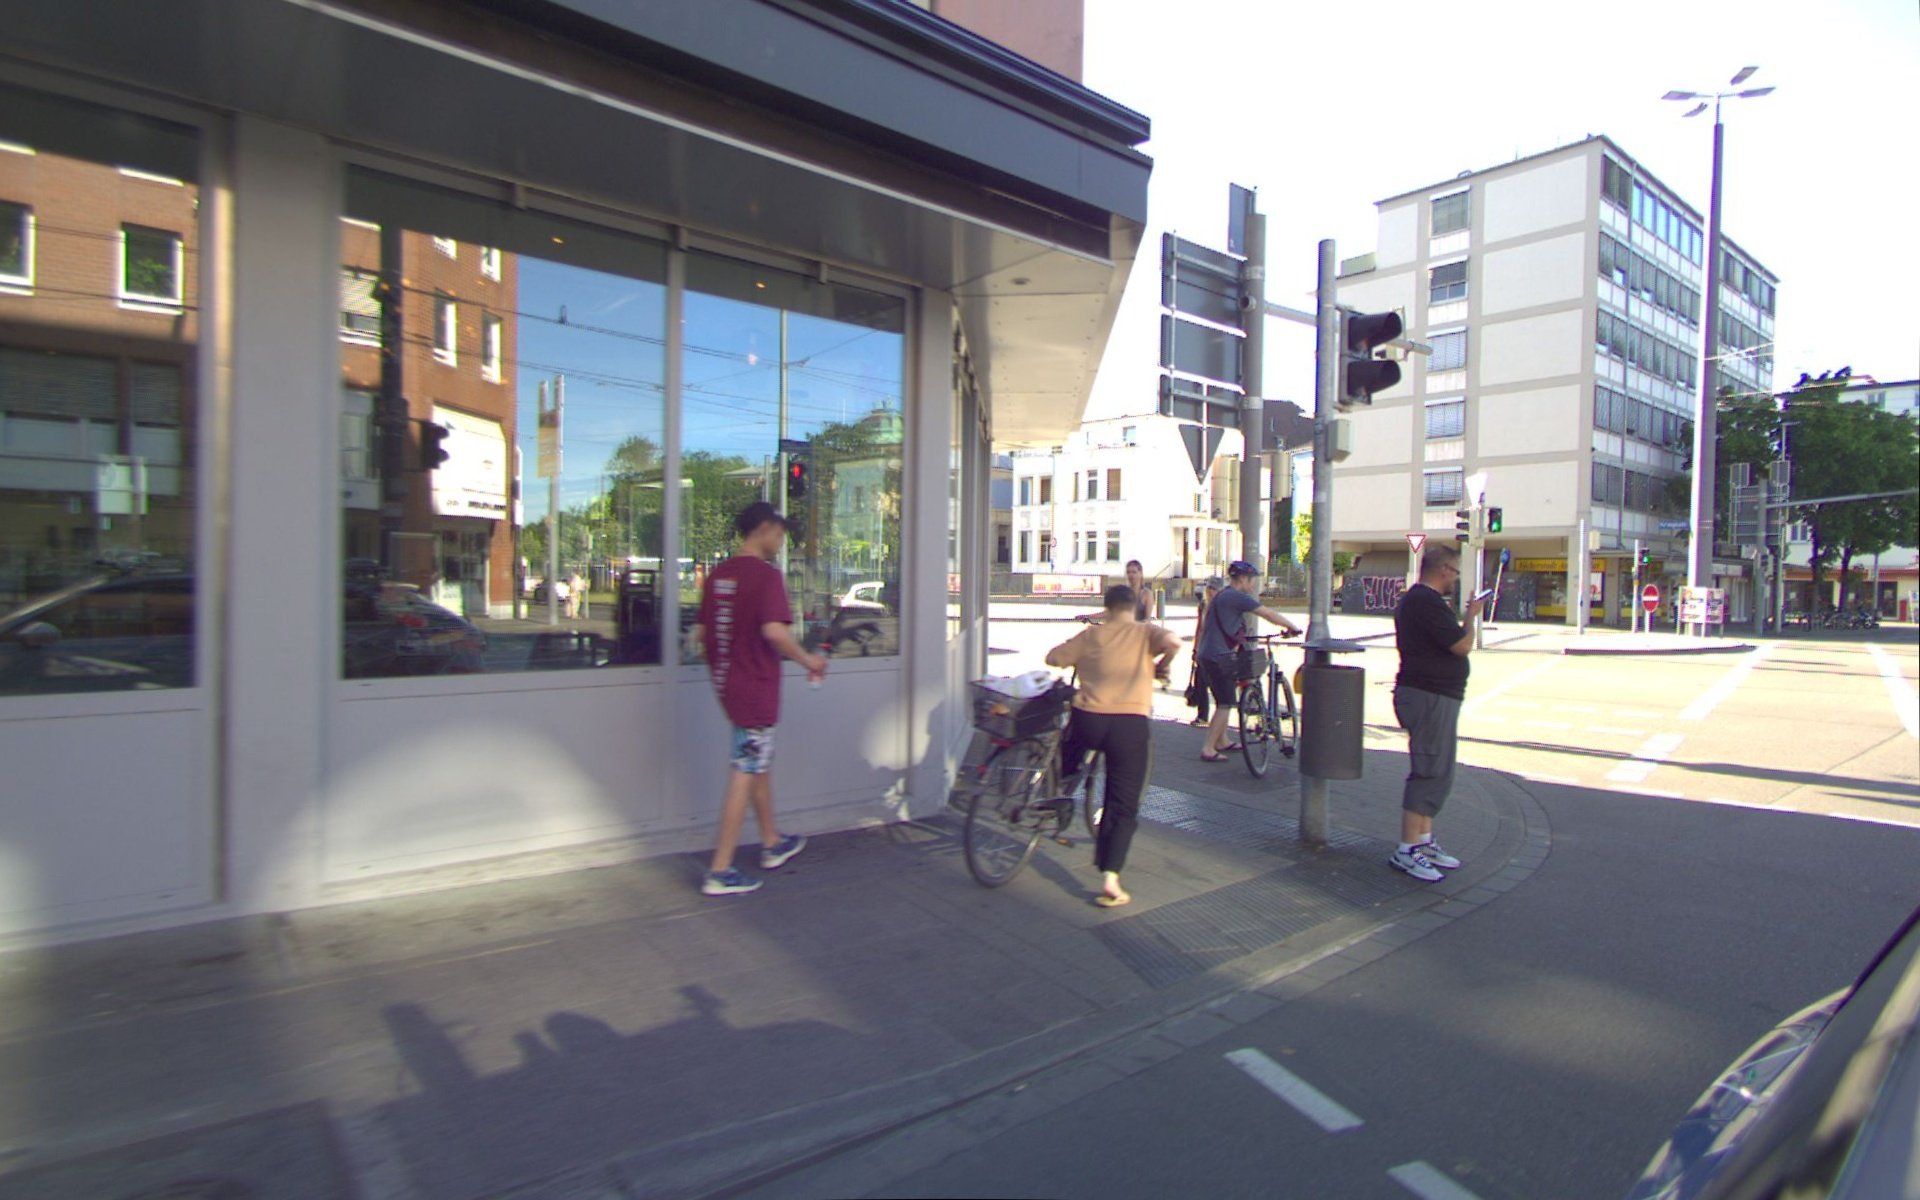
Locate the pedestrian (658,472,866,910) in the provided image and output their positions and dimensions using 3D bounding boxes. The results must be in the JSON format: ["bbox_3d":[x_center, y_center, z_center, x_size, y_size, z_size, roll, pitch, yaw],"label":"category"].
[{"bbox_3d":[-0.901,0.366,4.601,0.669,1.783,0.669,0,0,44],"label":"pedestrian"}]

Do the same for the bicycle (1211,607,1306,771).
[{"bbox_3d":[2.509,0.665,8.395,0.478,1.187,1.743,0,0,26],"label":"bicycle"}]

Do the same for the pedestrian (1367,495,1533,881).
[{"bbox_3d":[2.587,0.422,5.338,0.676,1.866,0.598,0,0,38],"label":"pedestrian"}]

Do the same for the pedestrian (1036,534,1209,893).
[{"bbox_3d":[0.809,0.511,5.017,0.651,1.627,0.588,0,0,37],"label":"pedestrian"}]

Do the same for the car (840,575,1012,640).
[{"bbox_3d":[-0.866,0.123,24.491,3.983,1.400,1.841,2,2,40],"label":"car"}]

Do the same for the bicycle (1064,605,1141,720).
[{"bbox_3d":[1.585,0.630,11.048,0.674,1.079,1.781,1,2,13],"label":"bicycle"}]

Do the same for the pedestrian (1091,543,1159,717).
[{"bbox_3d":[1.780,0.306,10.894,0.659,1.801,0.647,0,0,15],"label":"pedestrian"}]

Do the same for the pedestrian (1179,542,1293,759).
[{"bbox_3d":[2.359,0.400,8.626,0.819,1.732,0.779,0,0,25],"label":"pedestrian"}]

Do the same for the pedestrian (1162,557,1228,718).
[{"bbox_3d":[2.510,0.382,10.786,0.659,1.643,0.647,0,0,15],"label":"pedestrian"}]

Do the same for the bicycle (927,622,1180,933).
[{"bbox_3d":[0.544,0.755,5.055,0.427,1.229,1.801,0,0,35],"label":"bicycle"}]
